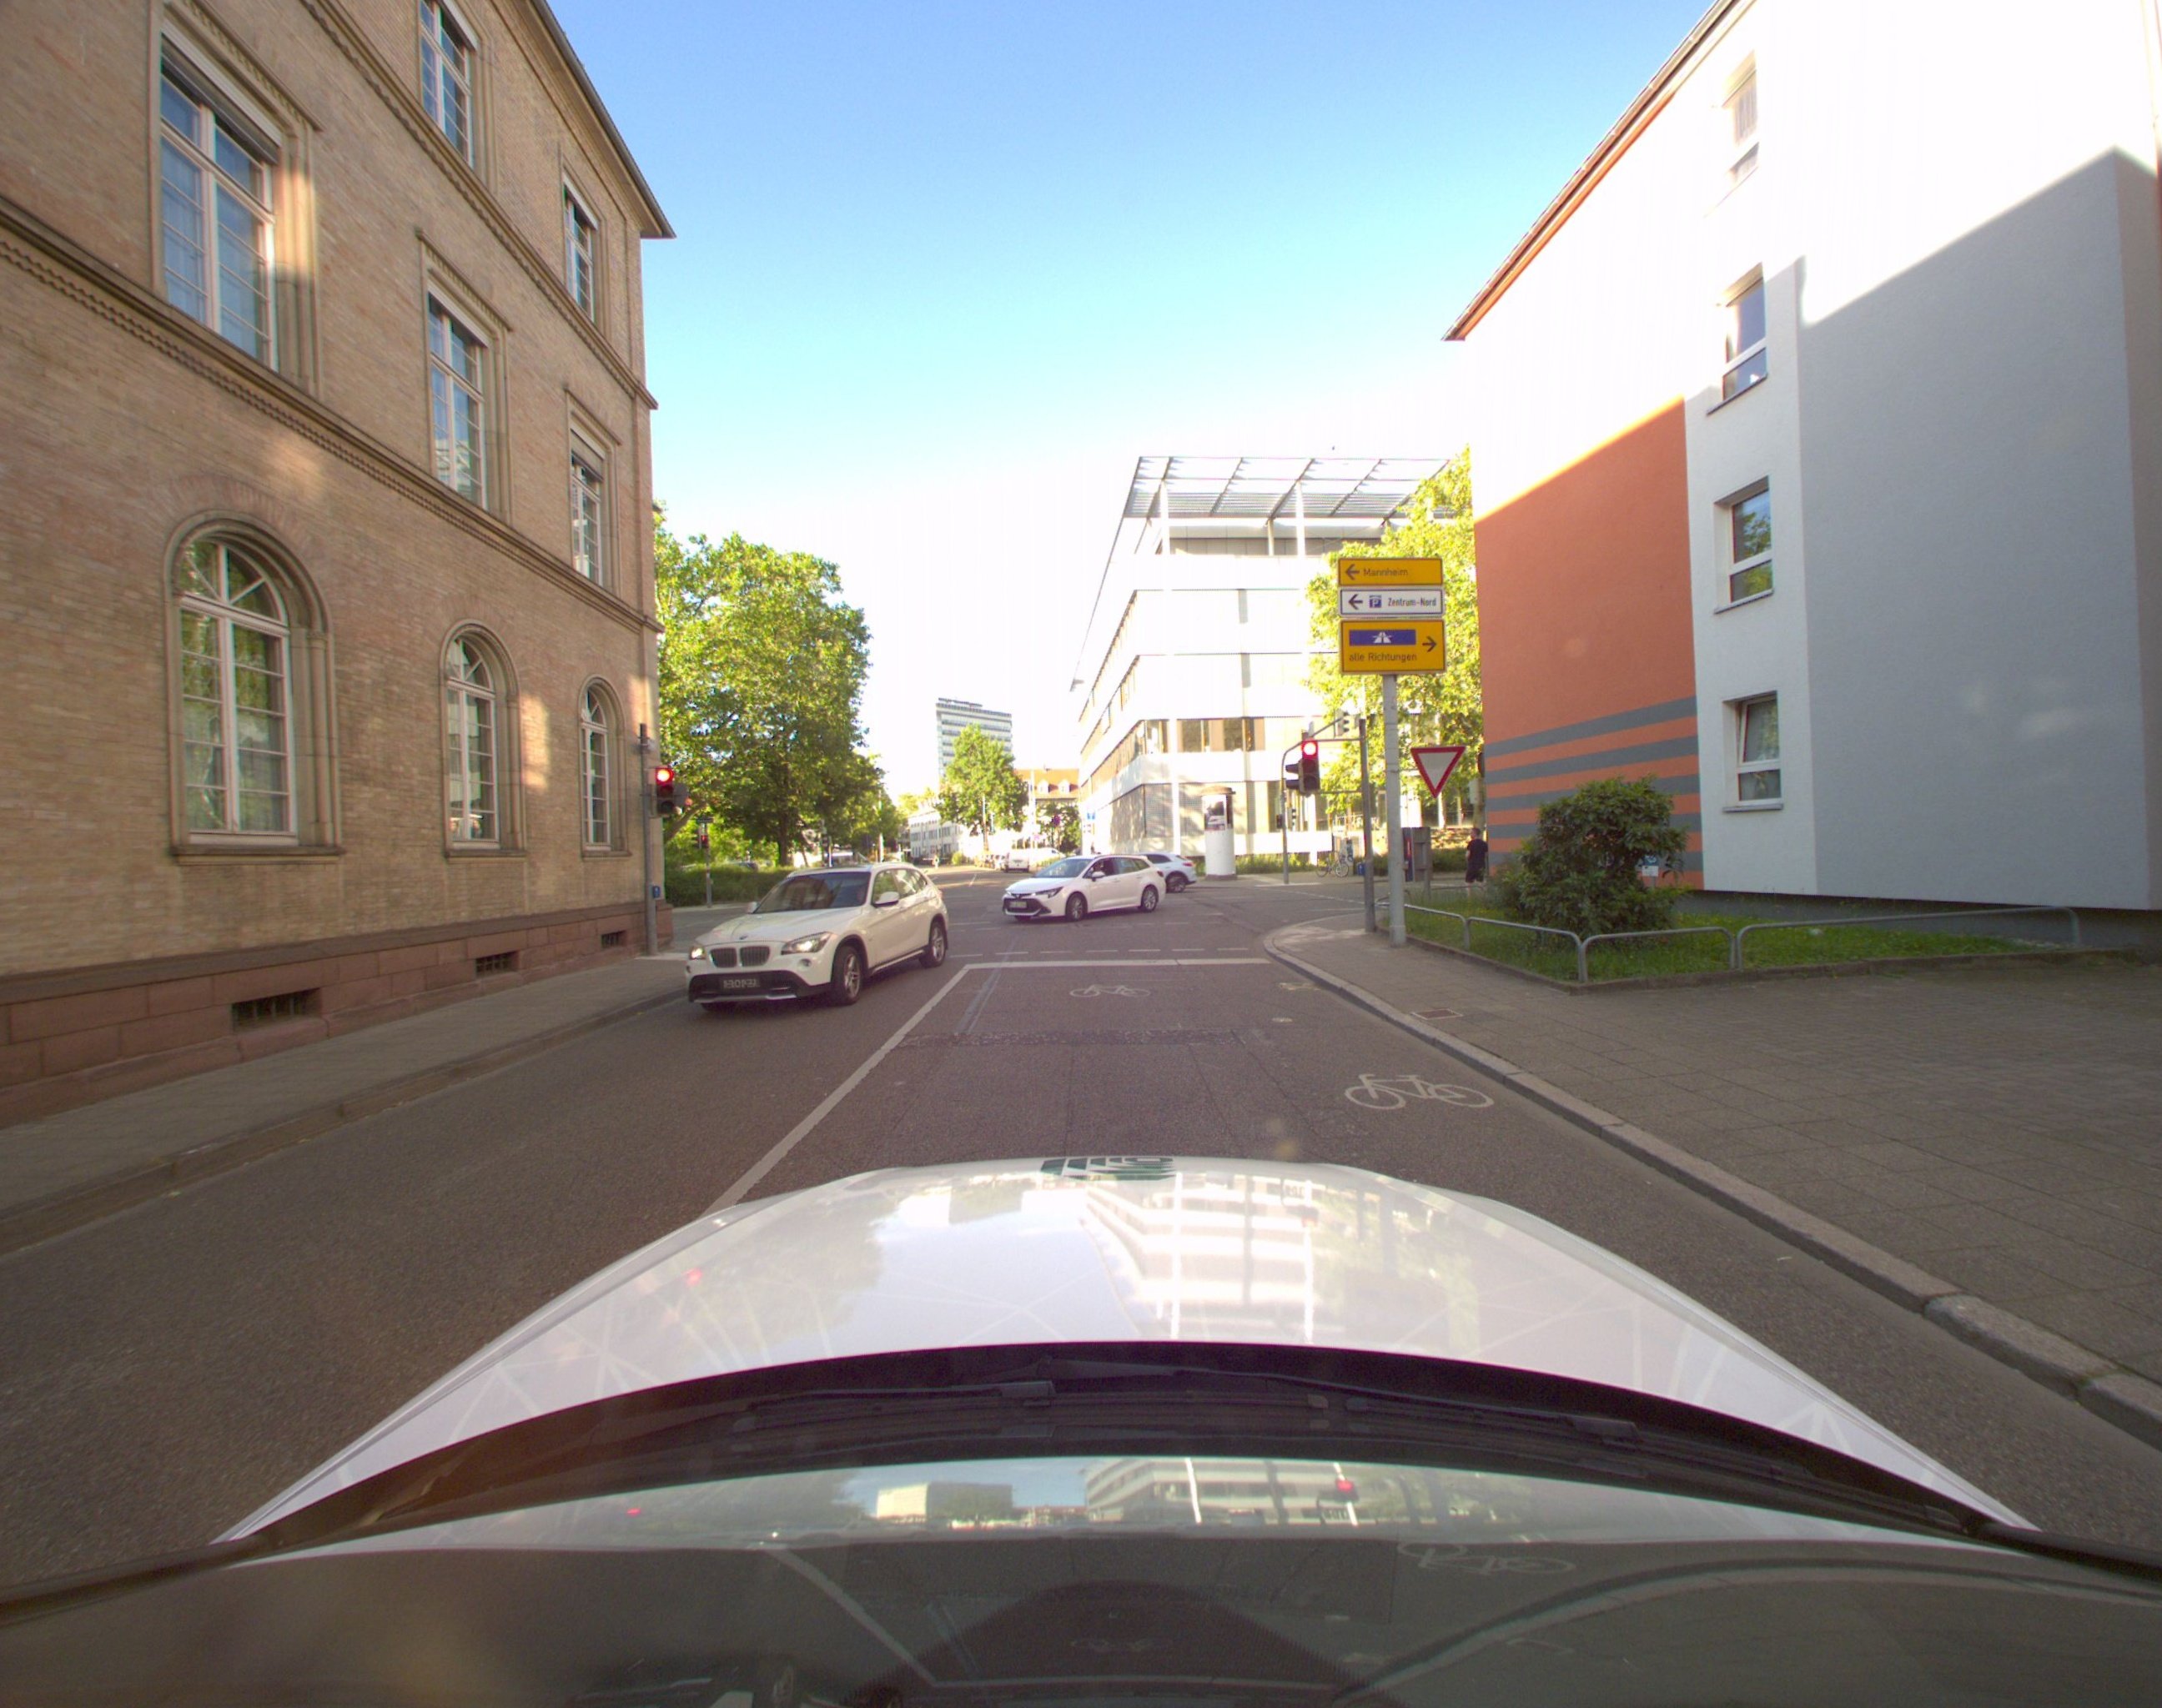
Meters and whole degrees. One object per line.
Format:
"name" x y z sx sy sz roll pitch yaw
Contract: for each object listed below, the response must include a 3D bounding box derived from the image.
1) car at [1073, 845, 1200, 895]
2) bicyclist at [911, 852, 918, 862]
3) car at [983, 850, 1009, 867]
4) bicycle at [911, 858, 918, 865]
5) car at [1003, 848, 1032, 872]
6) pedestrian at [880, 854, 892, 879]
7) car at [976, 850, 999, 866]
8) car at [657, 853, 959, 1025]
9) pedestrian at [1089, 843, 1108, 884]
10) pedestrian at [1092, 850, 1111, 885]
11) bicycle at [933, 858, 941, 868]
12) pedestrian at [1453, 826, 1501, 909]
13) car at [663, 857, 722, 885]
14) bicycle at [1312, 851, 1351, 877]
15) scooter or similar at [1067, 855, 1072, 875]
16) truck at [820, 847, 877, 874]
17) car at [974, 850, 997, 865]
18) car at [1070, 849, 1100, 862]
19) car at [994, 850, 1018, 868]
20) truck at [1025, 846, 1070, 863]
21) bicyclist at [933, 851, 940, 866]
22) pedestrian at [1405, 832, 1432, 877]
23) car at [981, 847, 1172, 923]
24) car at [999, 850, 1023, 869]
"car" 1.937 0.541 29.308 4.314 1.575 1.821 -2 0 -6
"bicyclist" -25.099 0.421 122.631 0.865 1.515 1.016 -5 0 -9
"car" -9.026 0.431 85.951 1.893 1.655 4.390 -2 1 -16
"bicycle" -25.054 1.077 122.614 0.865 1.009 2.407 -5 0 -9
"car" -5.094 0.447 64.950 2.084 1.795 4.403 -2 1 -8
"pedestrian" -13.625 0.888 56.890 0.704 1.723 0.950 -3 0 -15
"car" -10.492 0.477 91.081 1.893 1.655 4.390 -2 1 -16
"car" -3.104 0.879 10.359 1.675 1.582 4.287 -4 0 10
"pedestrian" 0.832 0.446 37.917 0.555 1.850 0.680 -5 1 18
"pedestrian" 0.924 0.604 37.308 0.561 1.540 0.673 -5 1 -16
"bicycle" -14.902 0.964 84.329 0.615 0.969 1.837 -3 0 -7
"pedestrian" 9.043 0.305 18.606 0.704 1.840 0.837 0 0 1
"car" -37.168 1.621 78.104 4.551 2.391 2.069 -3 0 -7
"bicycle" 11.029 0.417 35.898 0.510 1.049 1.670 -4 3 -33
"scooter or similar" -0.827 0.755 58.732 0.329 1.424 1.333 0 -1 -4
"truck" -21.609 0.587 75.814 4.825 2.399 2.082 -2 0 -8
"car" -11.275 0.423 95.949 1.893 1.655 4.390 -2 1 -16
"car" 0.507 0.168 104.416 3.563 1.546 1.549 -2 0 -17
"car" -7.268 0.475 78.654 1.889 1.555 4.398 -2 1 -11
"truck" -4.245 0.066 103.345 5.351 2.013 1.988 -2 0 -17
"bicyclist" -14.923 0.474 84.343 0.615 1.532 0.901 -3 0 -7
"pedestrian" 14.091 0.019 34.047 0.832 1.840 0.708 0 0 -2
"car" 0.025 0.663 19.212 1.869 1.476 4.573 -2 0 42
"car" -6.334 0.500 73.256 1.887 1.555 4.403 -2 1 -8
